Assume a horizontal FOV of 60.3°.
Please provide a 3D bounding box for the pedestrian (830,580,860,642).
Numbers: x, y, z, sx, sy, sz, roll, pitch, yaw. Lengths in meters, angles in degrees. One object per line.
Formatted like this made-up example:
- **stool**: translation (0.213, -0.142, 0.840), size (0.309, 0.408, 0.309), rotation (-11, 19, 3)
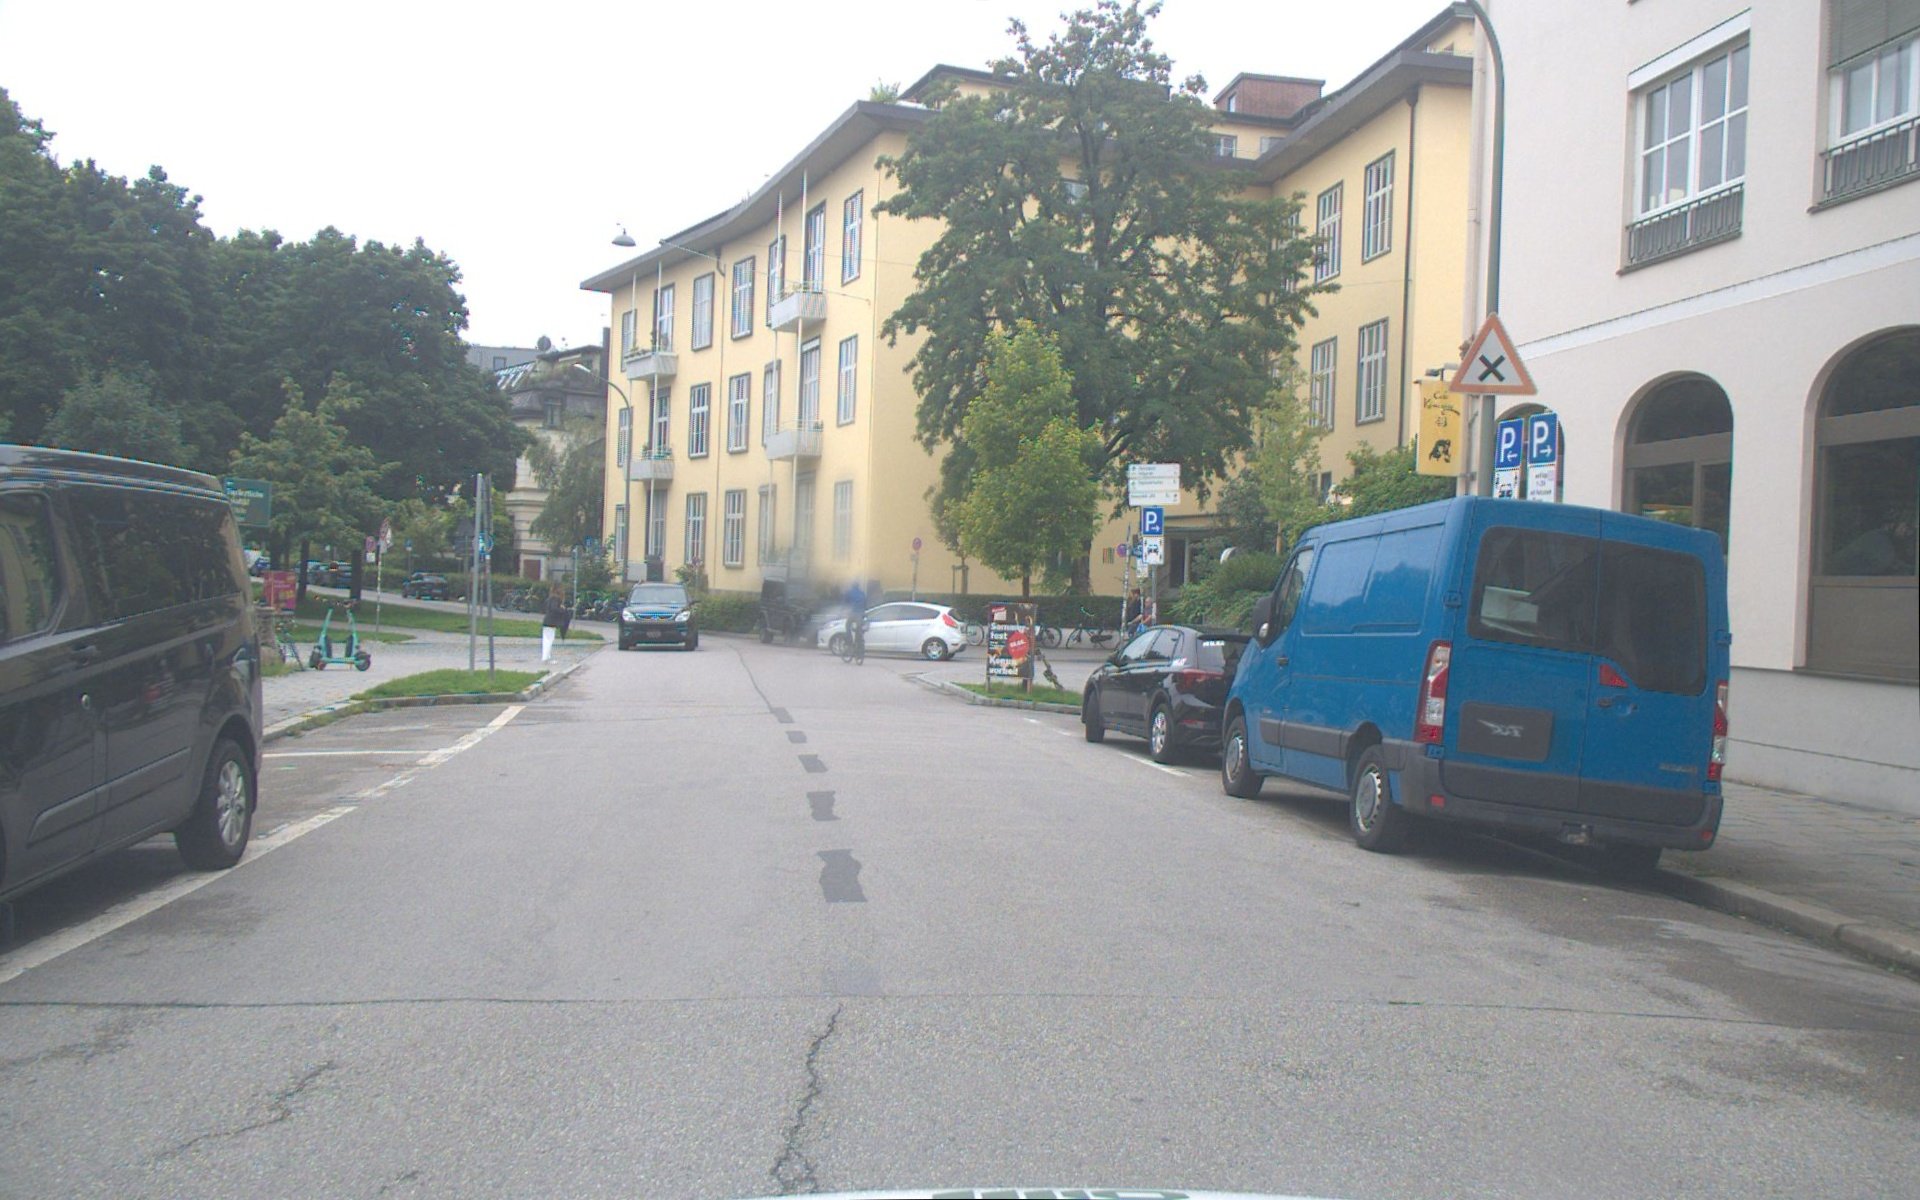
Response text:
- **pedestrian**: translation (-3.422, 0.318, 49.116), size (0.832, 1.788, 0.952), rotation (1, 1, -7)

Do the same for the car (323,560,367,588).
- **car**: translation (-39.463, -1.659, 106.129), size (1.777, 1.709, 3.954), rotation (1, 1, -34)

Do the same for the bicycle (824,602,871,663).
- **bicycle**: translation (-2.556, 0.720, 37.762), size (0.902, 1.274, 2.321), rotation (1, 1, -1)

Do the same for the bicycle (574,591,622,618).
- **bicycle**: translation (-15.141, 0.189, 69.182), size (0.608, 1.046, 1.964), rotation (1, 0, 43)

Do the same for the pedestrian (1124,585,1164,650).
- **pedestrian**: translation (5.250, 0.498, 47.216), size (0.971, 1.840, 0.658), rotation (1, 0, -10)

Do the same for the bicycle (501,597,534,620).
- **bicycle**: translation (-20.724, 0.389, 77.528), size (0.402, 1.032, 1.529), rotation (1, 1, 40)

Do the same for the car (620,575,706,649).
- **car**: translation (-7.794, 0.264, 43.049), size (1.959, 1.749, 4.600), rotation (1, 1, -13)

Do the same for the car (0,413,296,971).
- **car**: translation (-4.529, 0.327, 7.039), size (1.888, 2.013, 4.617), rotation (-1, 1, -6)

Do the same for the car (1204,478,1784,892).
- **car**: translation (3.577, 0.562, 12.345), size (2.070, 2.251, 5.021), rotation (6, -2, -6)

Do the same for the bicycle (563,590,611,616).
- **bicycle**: translation (-15.787, 0.115, 70.106), size (0.608, 1.046, 1.964), rotation (1, 0, 43)

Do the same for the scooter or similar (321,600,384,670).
- **scooter or similar**: translation (-11.022, 0.643, 30.032), size (0.429, 1.234, 1.053), rotation (1, -2, 23)

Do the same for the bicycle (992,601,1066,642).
- **bicycle**: translation (2.036, 0.637, 48.867), size (2.121, 1.135, 0.641), rotation (2, 1, 8)

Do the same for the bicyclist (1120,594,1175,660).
- **bicyclist**: translation (4.759, 0.681, 42.032), size (1.036, 1.637, 0.868), rotation (1, 1, -33)

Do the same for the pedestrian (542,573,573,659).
- **pedestrian**: translation (-8.199, 0.317, 33.675), size (0.534, 1.726, 0.663), rotation (0, 1, -20)

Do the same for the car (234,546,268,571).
- **car**: translation (-58.550, -3.425, 136.511), size (2.044, 2.000, 4.928), rotation (1, 1, -30)

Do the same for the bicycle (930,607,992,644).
- **bicycle**: translation (0.027, 0.761, 49.811), size (1.910, 1.103, 0.527), rotation (0, -1, 35)

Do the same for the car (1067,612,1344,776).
- **car**: translation (2.570, 0.952, 18.313), size (1.684, 1.418, 3.989), rotation (5, 0, -12)

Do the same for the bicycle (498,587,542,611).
- **bicycle**: translation (-20.633, -0.047, 77.649), size (0.608, 1.046, 1.964), rotation (1, 0, 43)

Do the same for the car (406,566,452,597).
- **car**: translation (-28.833, -1.028, 89.758), size (1.630, 1.585, 3.522), rotation (1, 1, -31)

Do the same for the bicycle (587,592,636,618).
- **bicycle**: translation (-14.470, 0.207, 68.669), size (0.608, 1.046, 1.964), rotation (1, 0, 43)

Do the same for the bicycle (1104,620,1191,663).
- **bicycle**: translation (4.776, 1.047, 42.053), size (2.164, 1.037, 0.869), rotation (1, 1, -34)

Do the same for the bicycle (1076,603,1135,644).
- **bicycle**: translation (4.287, 0.693, 48.733), size (1.651, 1.150, 0.459), rotation (1, 1, -10)

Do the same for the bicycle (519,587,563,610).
- **bicycle**: translation (-19.333, -0.068, 76.345), size (0.608, 1.046, 1.964), rotation (1, 0, 43)

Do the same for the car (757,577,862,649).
- **car**: translation (-4.493, 0.344, 48.781), size (1.847, 1.920, 4.588), rotation (1, 1, -22)

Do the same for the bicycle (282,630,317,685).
- **bicycle**: translation (-11.361, 0.981, 28.450), size (0.428, 0.909, 1.318), rotation (2, -1, -27)

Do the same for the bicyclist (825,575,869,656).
- **bicyclist**: translation (-2.582, 0.336, 37.806), size (0.895, 1.795, 1.215), rotation (1, 1, -1)

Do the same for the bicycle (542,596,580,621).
- **bicycle**: translation (-17.463, 0.379, 72.484), size (0.521, 1.046, 1.977), rotation (2, 0, 23)

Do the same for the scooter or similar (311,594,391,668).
- **scooter or similar**: translation (-10.779, 0.543, 29.293), size (1.234, 1.266, 0.394), rotation (2, -2, 3)

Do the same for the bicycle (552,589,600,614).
- **bicycle**: translation (-16.474, 0.067, 71.003), size (0.608, 1.046, 1.964), rotation (1, 0, 43)

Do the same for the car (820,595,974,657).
- **car**: translation (-1.607, 0.644, 42.781), size (3.636, 1.431, 1.755), rotation (2, 1, 11)

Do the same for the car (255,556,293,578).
- **car**: translation (-53.337, -2.557, 128.598), size (1.976, 1.628, 4.205), rotation (1, 1, -33)
